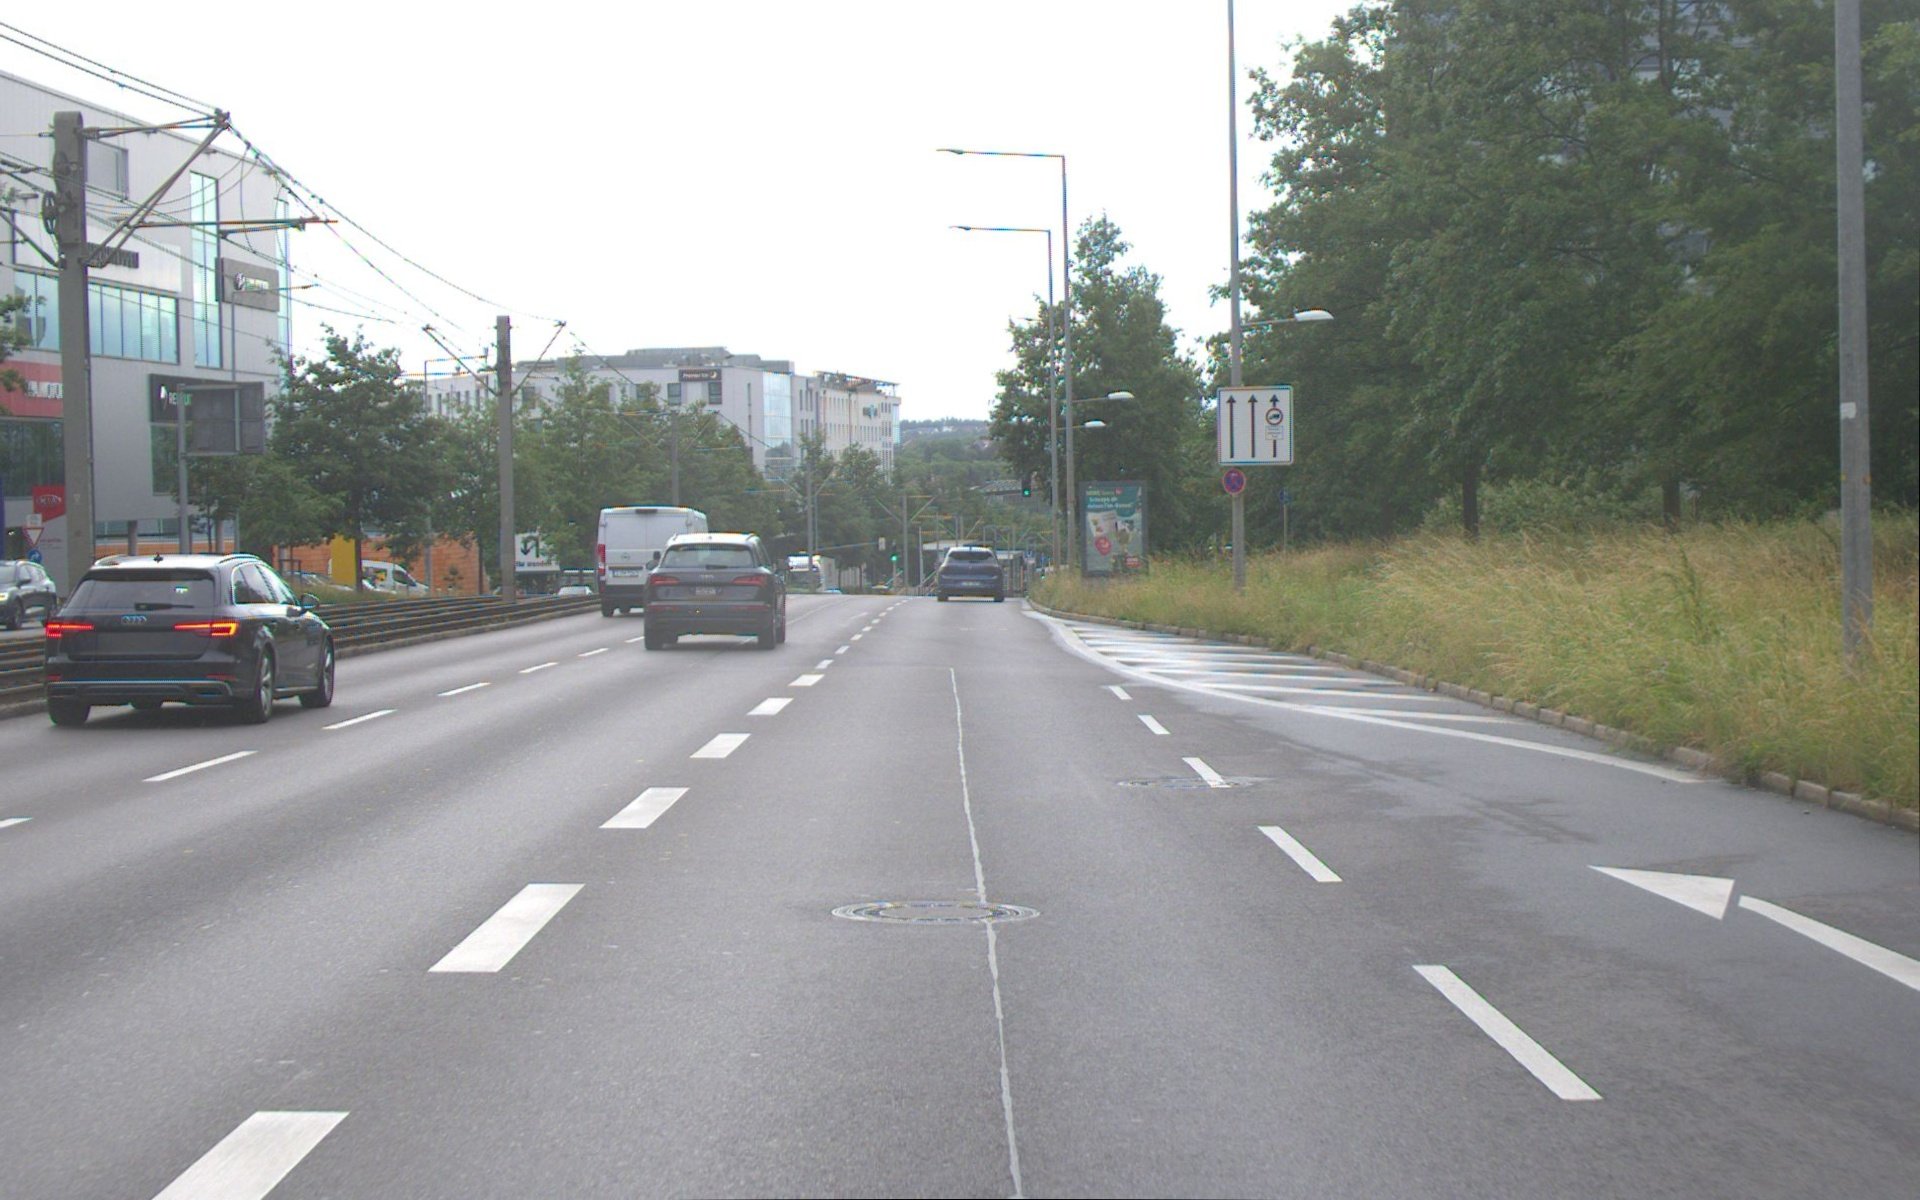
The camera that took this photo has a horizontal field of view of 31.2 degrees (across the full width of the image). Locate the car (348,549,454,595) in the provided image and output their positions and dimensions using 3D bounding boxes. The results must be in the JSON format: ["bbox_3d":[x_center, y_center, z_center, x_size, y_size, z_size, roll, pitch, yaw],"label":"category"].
[{"bbox_3d":[-29.141,-1.435,179.322,5.302,2.305,2.020,1,-1,-4],"label":"car"}]

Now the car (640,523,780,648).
[{"bbox_3d":[-3.577,-0.247,49.602,1.922,1.705,4.099,1,1,-3],"label":"car"}]

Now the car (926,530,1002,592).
[{"bbox_3d":[0.086,-1.051,92.339,1.789,1.585,4.001,-1,1,-3],"label":"car"}]

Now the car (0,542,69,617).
[{"bbox_3d":[-20.290,-0.400,72.191,1.841,1.481,4.654,-4,1,0],"label":"car"}]

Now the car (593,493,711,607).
[{"bbox_3d":[-6.396,-1.047,71.788,2.267,2.277,4.760,1,1,-3],"label":"car"}]

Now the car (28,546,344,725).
[{"bbox_3d":[-6.618,0.246,29.903,1.785,1.409,4.806,0,1,-2],"label":"car"}]
